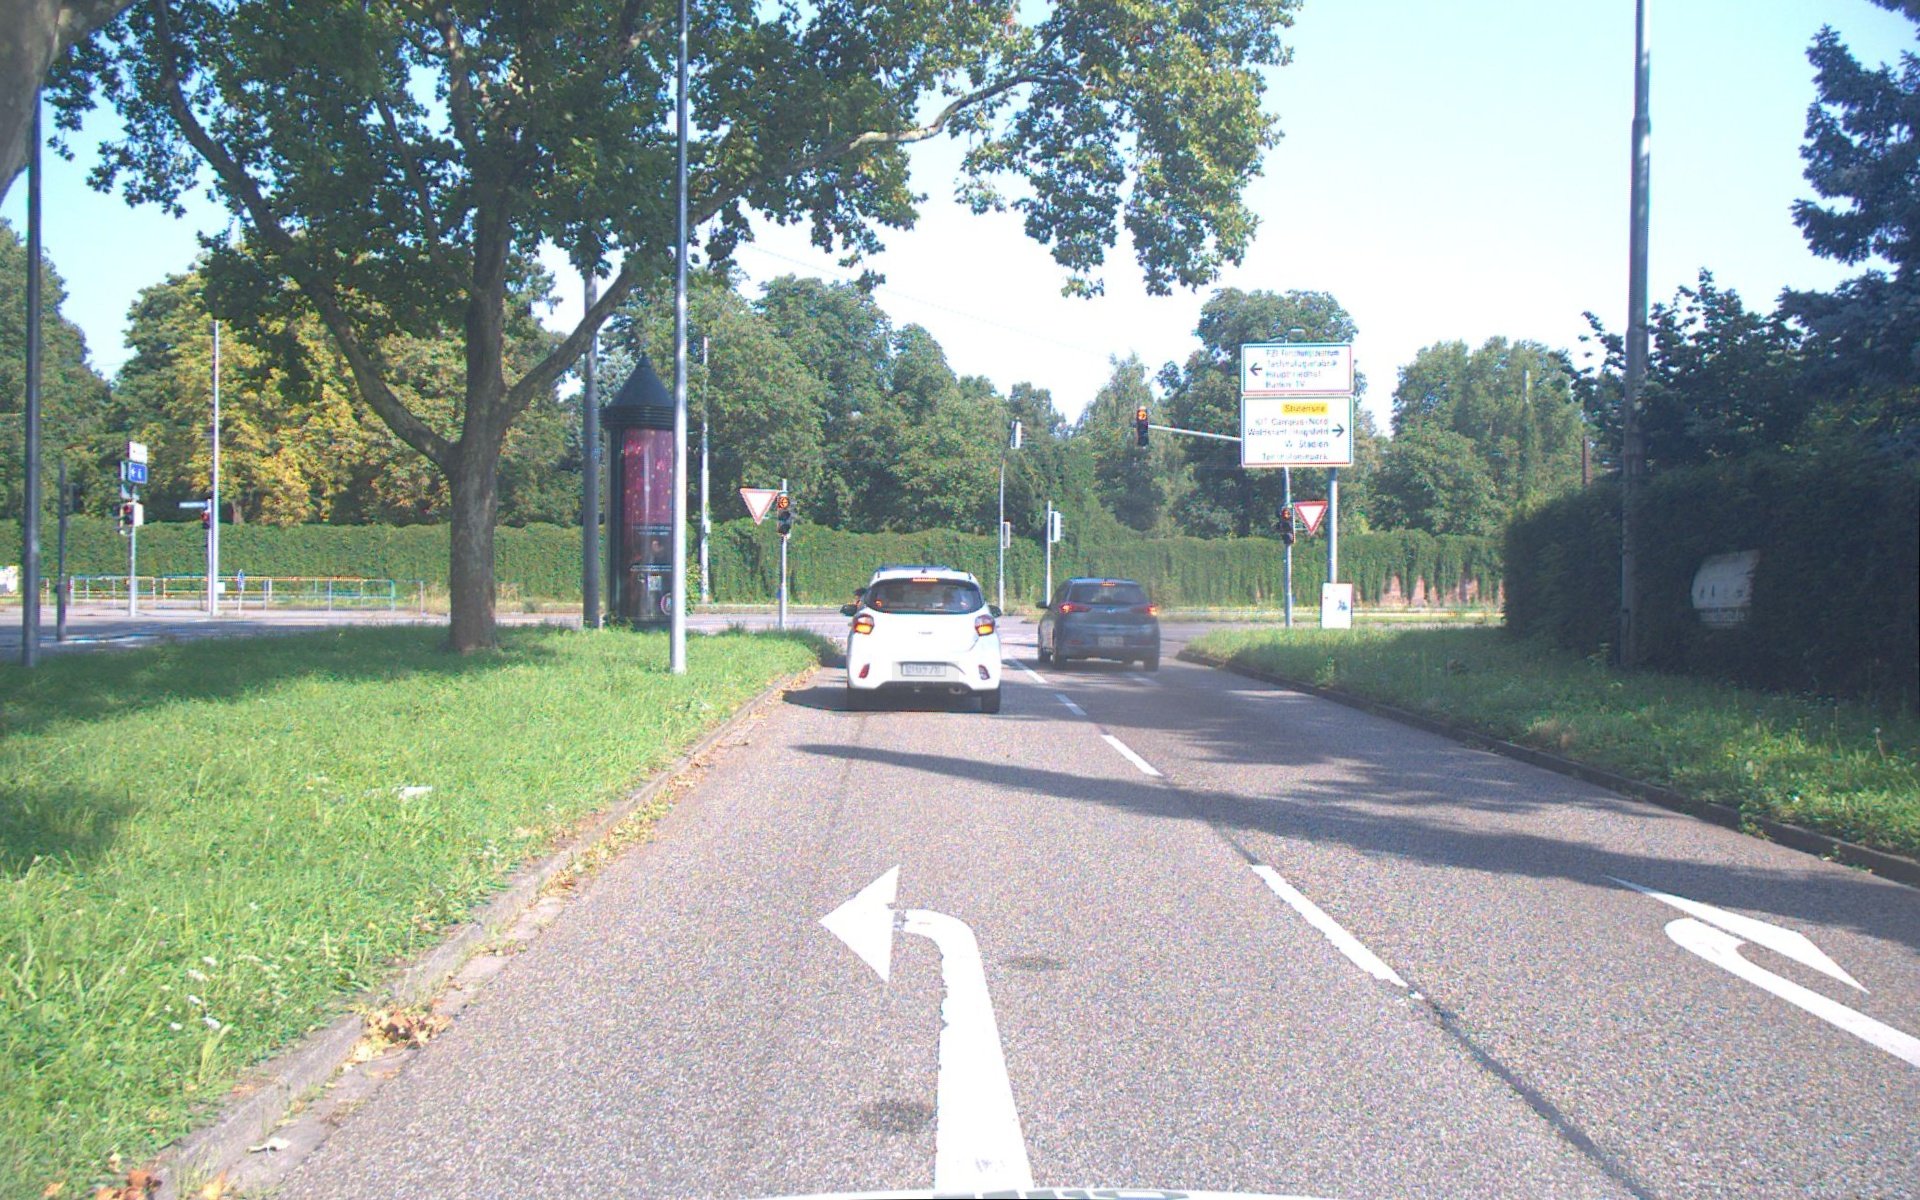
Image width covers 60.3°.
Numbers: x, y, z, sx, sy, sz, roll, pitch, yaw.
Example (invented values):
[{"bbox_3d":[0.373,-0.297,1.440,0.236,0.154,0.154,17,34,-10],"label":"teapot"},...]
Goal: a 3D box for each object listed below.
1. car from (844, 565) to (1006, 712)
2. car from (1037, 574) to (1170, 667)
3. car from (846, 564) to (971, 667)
[{"bbox_3d":[-0.369,0.372,19.009,1.653,1.487,4.000,1,1,0],"label":"car"},{"bbox_3d":[2.338,0.293,27.829,1.761,1.425,3.999,1,1,-2],"label":"car"},{"bbox_3d":[-0.741,0.203,26.151,1.652,1.487,3.851,1,1,3],"label":"car"}]
